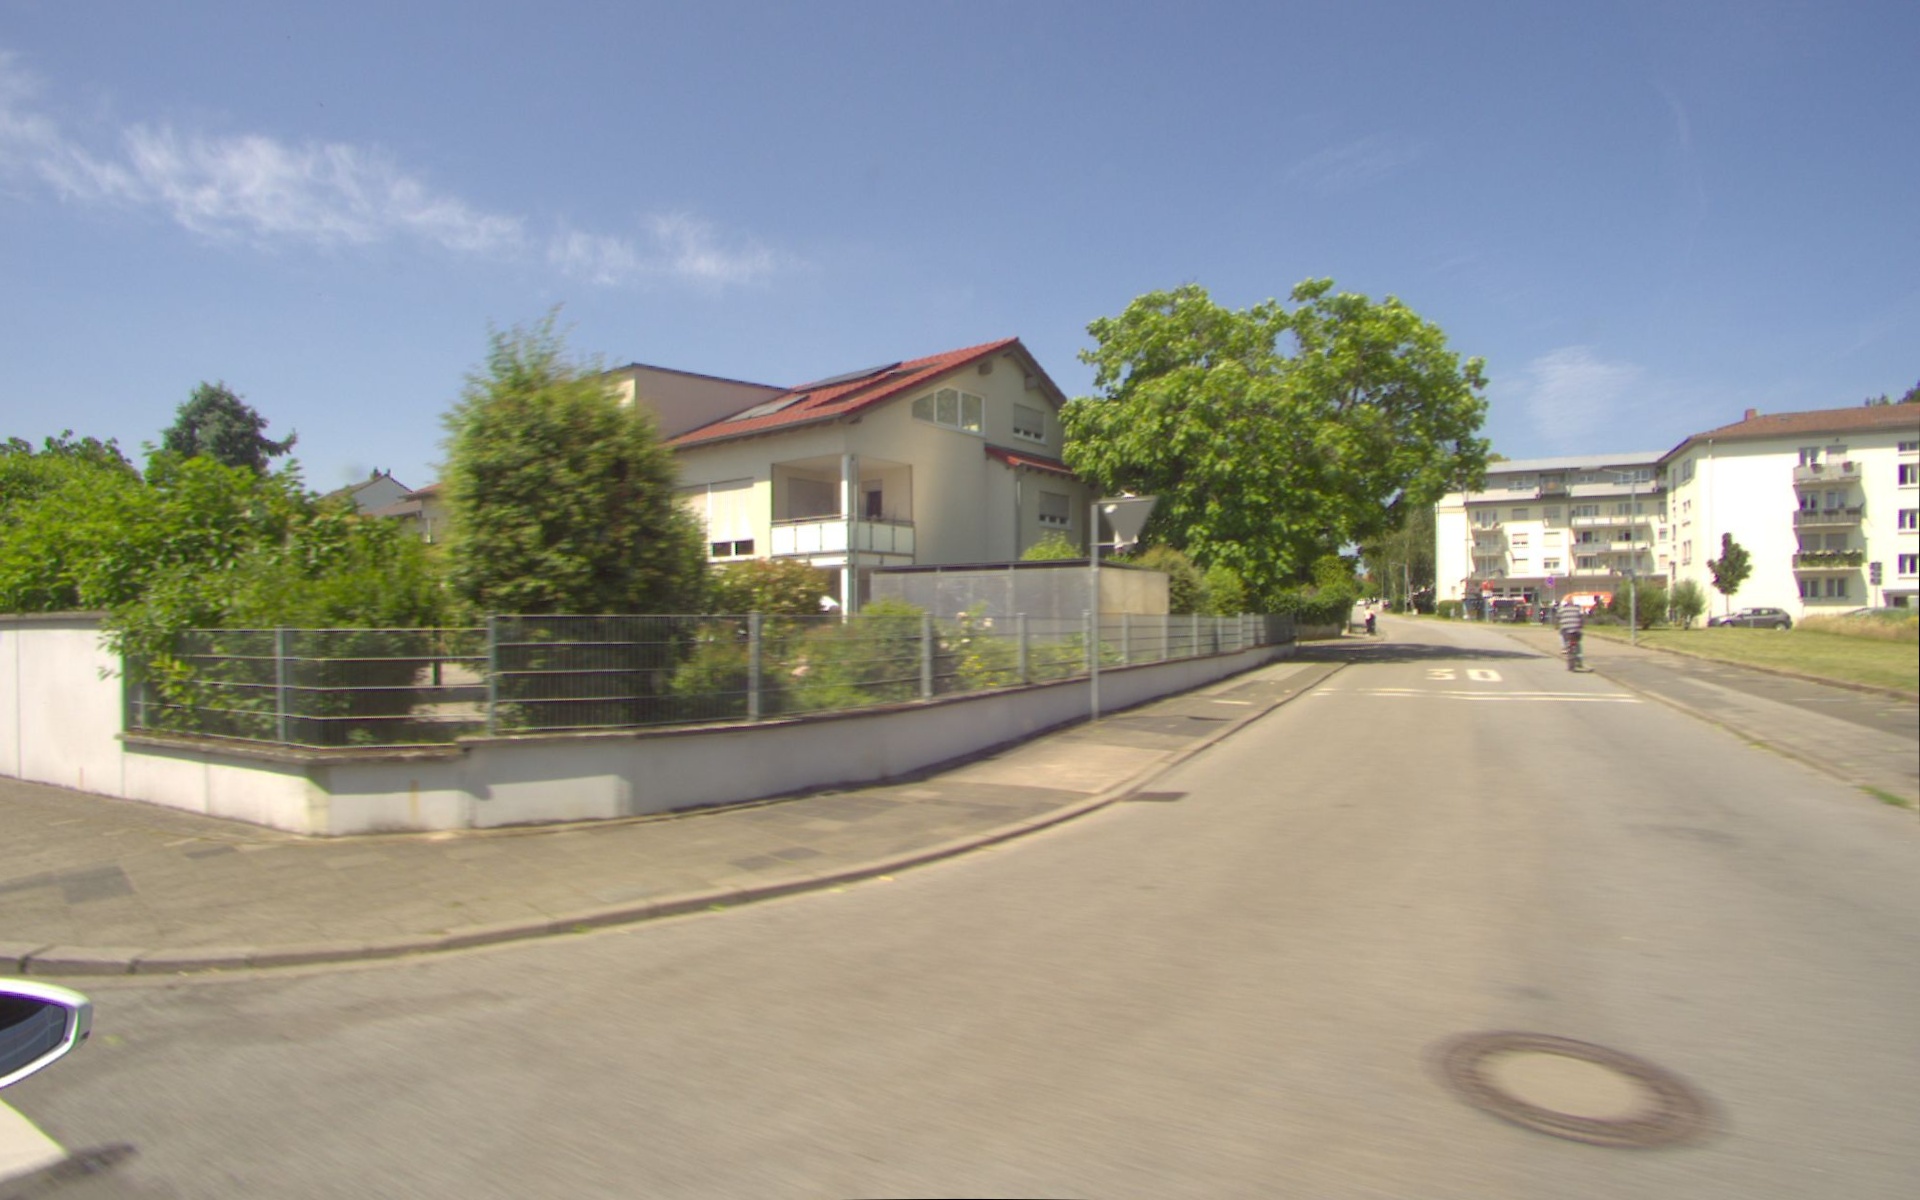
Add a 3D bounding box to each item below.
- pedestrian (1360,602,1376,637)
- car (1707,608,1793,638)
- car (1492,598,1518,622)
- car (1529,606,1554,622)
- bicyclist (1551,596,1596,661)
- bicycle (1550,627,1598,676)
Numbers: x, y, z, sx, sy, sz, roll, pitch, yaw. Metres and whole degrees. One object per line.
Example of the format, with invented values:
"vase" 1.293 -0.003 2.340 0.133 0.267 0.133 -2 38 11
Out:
"pedestrian" 21.857 1.043 53.626 0.771 1.875 0.631 -1 -3 21
"car" 46.993 1.393 59.673 3.775 1.648 1.504 -2 -3 29
"car" 45.193 0.860 82.981 1.502 1.952 3.161 -1 -1 36
"car" 47.616 1.146 81.988 1.502 1.343 3.161 -1 -1 36
"bicyclist" 15.134 0.697 24.734 0.842 1.550 0.925 0 0 26
"bicycle" 15.126 1.252 24.715 0.803 1.117 2.139 0 -1 26
